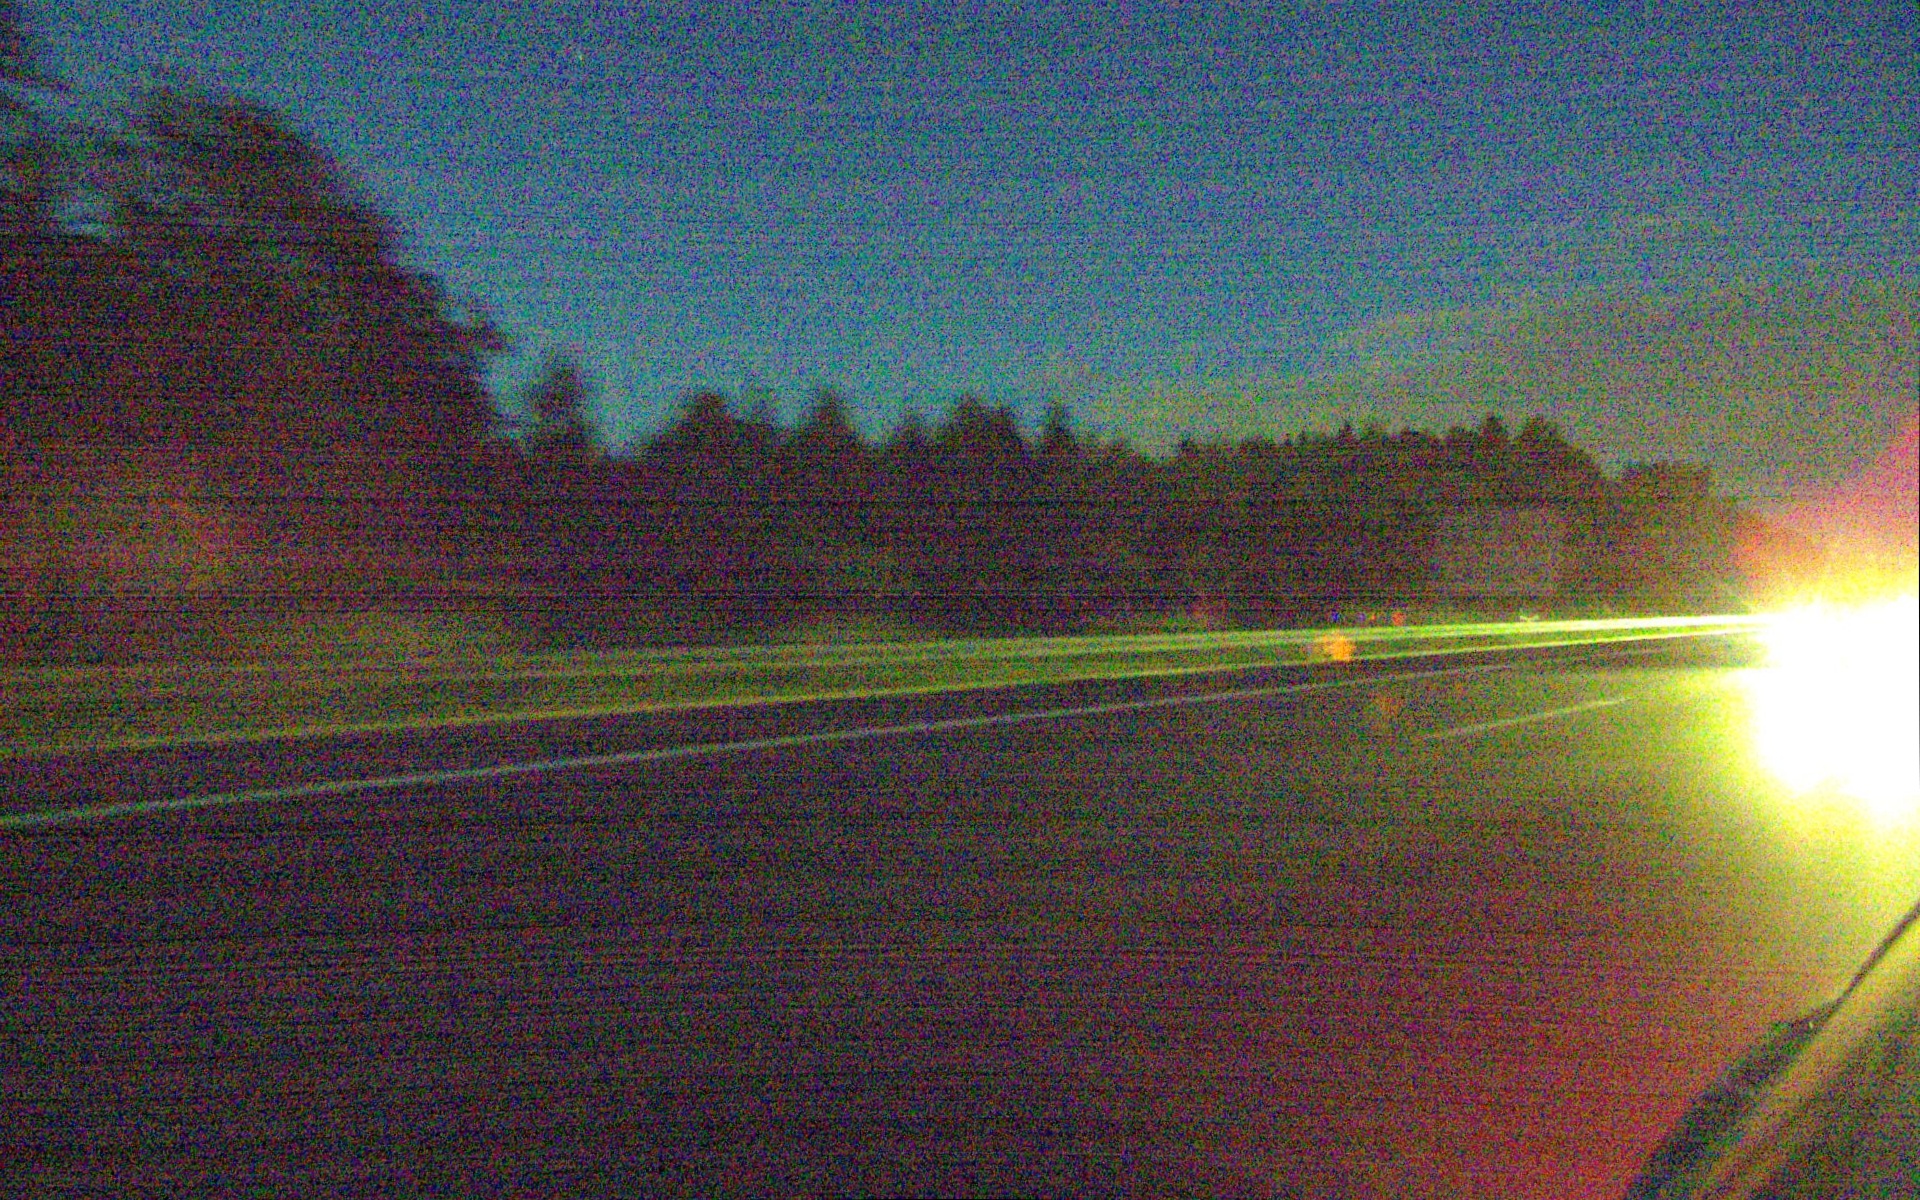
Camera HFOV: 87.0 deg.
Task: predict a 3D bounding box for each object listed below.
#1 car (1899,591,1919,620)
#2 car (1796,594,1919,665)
[{"bbox_3d":[58.779,0.335,61.572,5.080,1.740,1.995,1,-1,-43],"label":"car"},{"bbox_3d":[20.446,0.626,22.775,4.982,1.419,1.837,1,-1,-42],"label":"car"}]
